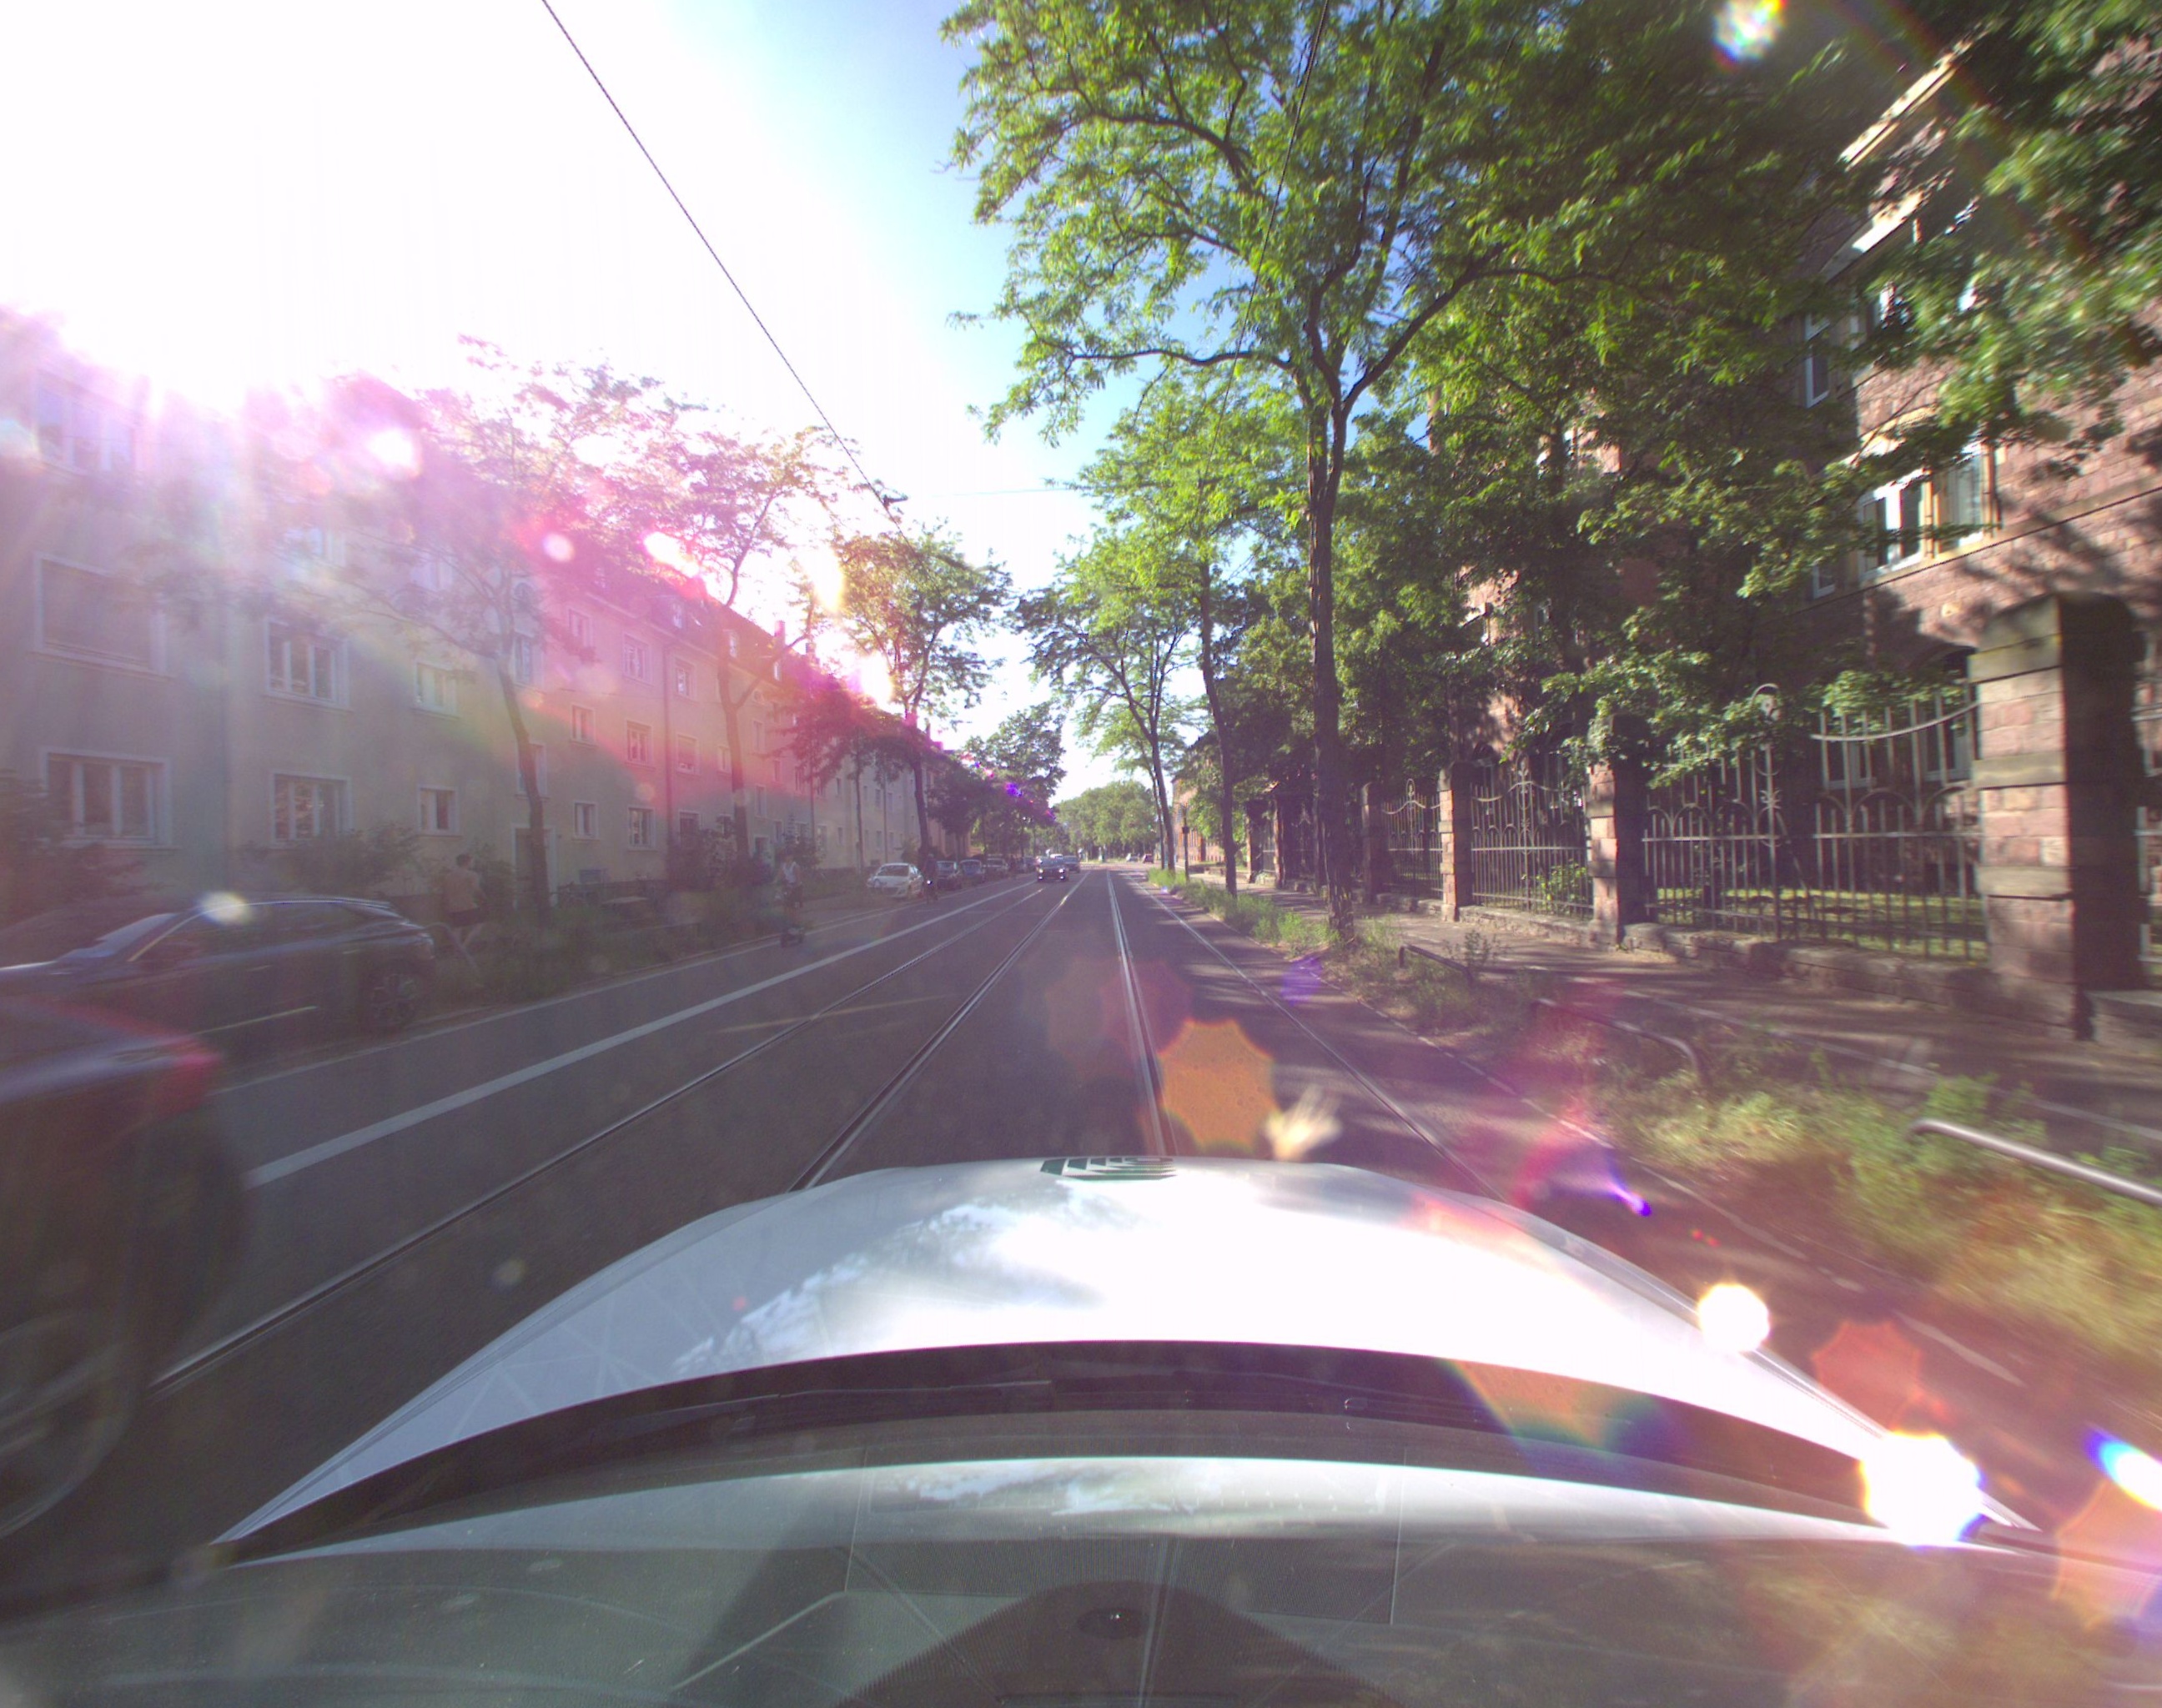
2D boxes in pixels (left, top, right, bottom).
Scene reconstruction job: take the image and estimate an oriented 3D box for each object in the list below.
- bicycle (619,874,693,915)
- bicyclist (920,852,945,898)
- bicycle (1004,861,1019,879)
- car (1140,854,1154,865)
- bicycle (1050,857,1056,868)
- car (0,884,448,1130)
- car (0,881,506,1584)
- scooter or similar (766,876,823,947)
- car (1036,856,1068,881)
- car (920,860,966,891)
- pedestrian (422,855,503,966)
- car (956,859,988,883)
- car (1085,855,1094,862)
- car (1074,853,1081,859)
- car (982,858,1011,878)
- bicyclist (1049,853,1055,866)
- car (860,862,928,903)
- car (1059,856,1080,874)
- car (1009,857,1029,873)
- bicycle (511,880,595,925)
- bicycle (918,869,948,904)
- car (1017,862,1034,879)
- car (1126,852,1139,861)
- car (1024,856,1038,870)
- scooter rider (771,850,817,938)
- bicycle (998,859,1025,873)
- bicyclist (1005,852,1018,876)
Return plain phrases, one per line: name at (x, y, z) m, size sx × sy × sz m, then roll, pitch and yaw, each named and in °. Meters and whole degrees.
bicycle at (-12.655, 1.198, 24.254) m, size 1.901 × 1.177 × 0.522 m, roll 0°, pitch 0°, yaw -1°
bicyclist at (-5.490, 0.771, 30.153) m, size 0.624 × 1.639 × 0.940 m, roll -4°, pitch 0°, yaw 1°
bicycle at (-4.890, 1.105, 57.420) m, size 0.692 × 1.177 × 1.914 m, roll -4°, pitch 0°, yaw 2°
car at (10.605, 0.910, 130.981) m, size 1.833 × 1.655 × 3.578 m, roll -2°, pitch 0°, yaw -1°
bicycle at (-3.253, 0.967, 93.821) m, size 0.556 × 1.198 × 2.291 m, roll -5°, pitch 0°, yaw -1°
car at (-8.004, 1.088, 6.958) m, size 1.810 × 1.485 × 4.208 m, roll -1°, pitch 0°, yaw 1°
car at (-3.188, 0.850, 0.956) m, size 1.752 × 1.439 × 4.523 m, roll -2°, pitch 0°, yaw 0°
scooter or similar at (-5.760, 1.130, 16.423) m, size 0.518 × 1.297 × 1.378 m, roll -5°, pitch 0°, yaw 2°
car at (-1.719, 0.841, 49.506) m, size 1.694 × 1.439 × 4.071 m, roll -2°, pitch 0°, yaw 0°
car at (-7.108, 1.054, 42.164) m, size 1.681 × 1.485 × 3.760 m, roll 1°, pitch 0°, yaw 0°
pedestrian at (-10.550, 0.939, 13.923) m, size 0.689 × 1.801 × 0.813 m, roll -2°, pitch 0°, yaw 1°
car at (-6.858, 1.054, 51.572) m, size 1.555 × 1.457 × 3.930 m, roll 1°, pitch 0°, yaw -1°
car at (2.195, 1.086, 209.983) m, size 1.939 × 1.610 × 3.994 m, roll -2°, pitch 0°, yaw -4°
car at (-0.972, 0.670, 225.499) m, size 1.938 × 1.610 × 3.995 m, roll -2°, pitch 0°, yaw -3°
car at (-6.552, 1.040, 63.268) m, size 1.739 × 1.490 × 4.324 m, roll 1°, pitch 0°, yaw 0°
bicyclist at (-3.292, 0.596, 93.933) m, size 0.556 × 1.456 × 0.869 m, roll -5°, pitch 0°, yaw -1°
car at (-7.479, 1.091, 32.982) m, size 1.696 × 1.485 × 4.080 m, roll 1°, pitch 0°, yaw 1°
car at (-0.952, 0.958, 71.384) m, size 1.694 × 1.471 × 4.071 m, roll -2°, pitch 0°, yaw 0°
car at (-6.036, 1.059, 79.879) m, size 1.740 × 1.569 × 4.068 m, roll 1°, pitch 0°, yaw -1°
bicycle at (-14.154, 1.293, 21.860) m, size 1.901 × 1.177 × 0.522 m, roll 0°, pitch 0°, yaw -1°
bicycle at (-5.467, 1.167, 30.165) m, size 0.624 × 1.177 × 1.914 m, roll -4°, pitch 0°, yaw 2°
car at (-5.960, 1.779, 87.918) m, size 1.741 × 1.660 × 4.386 m, roll 1°, pitch 0°, yaw -3°
car at (9.583, 0.523, 150.827) m, size 1.939 × 1.610 × 3.995 m, roll -2°, pitch 0°, yaw -4°
car at (-5.705, 0.989, 93.292) m, size 1.578 × 1.488 × 3.609 m, roll 1°, pitch 0°, yaw -3°
scooter rider at (-5.776, 0.784, 16.434) m, size 0.495 × 1.699 × 0.787 m, roll -5°, pitch 0°, yaw 1°
bicycle at (-6.009, 1.048, 70.181) m, size 2.271 × 1.198 × 0.561 m, roll 1°, pitch 1°, yaw 8°
bicyclist at (-4.914, 0.679, 57.431) m, size 0.707 × 1.607 × 0.865 m, roll -4°, pitch 0°, yaw 1°
